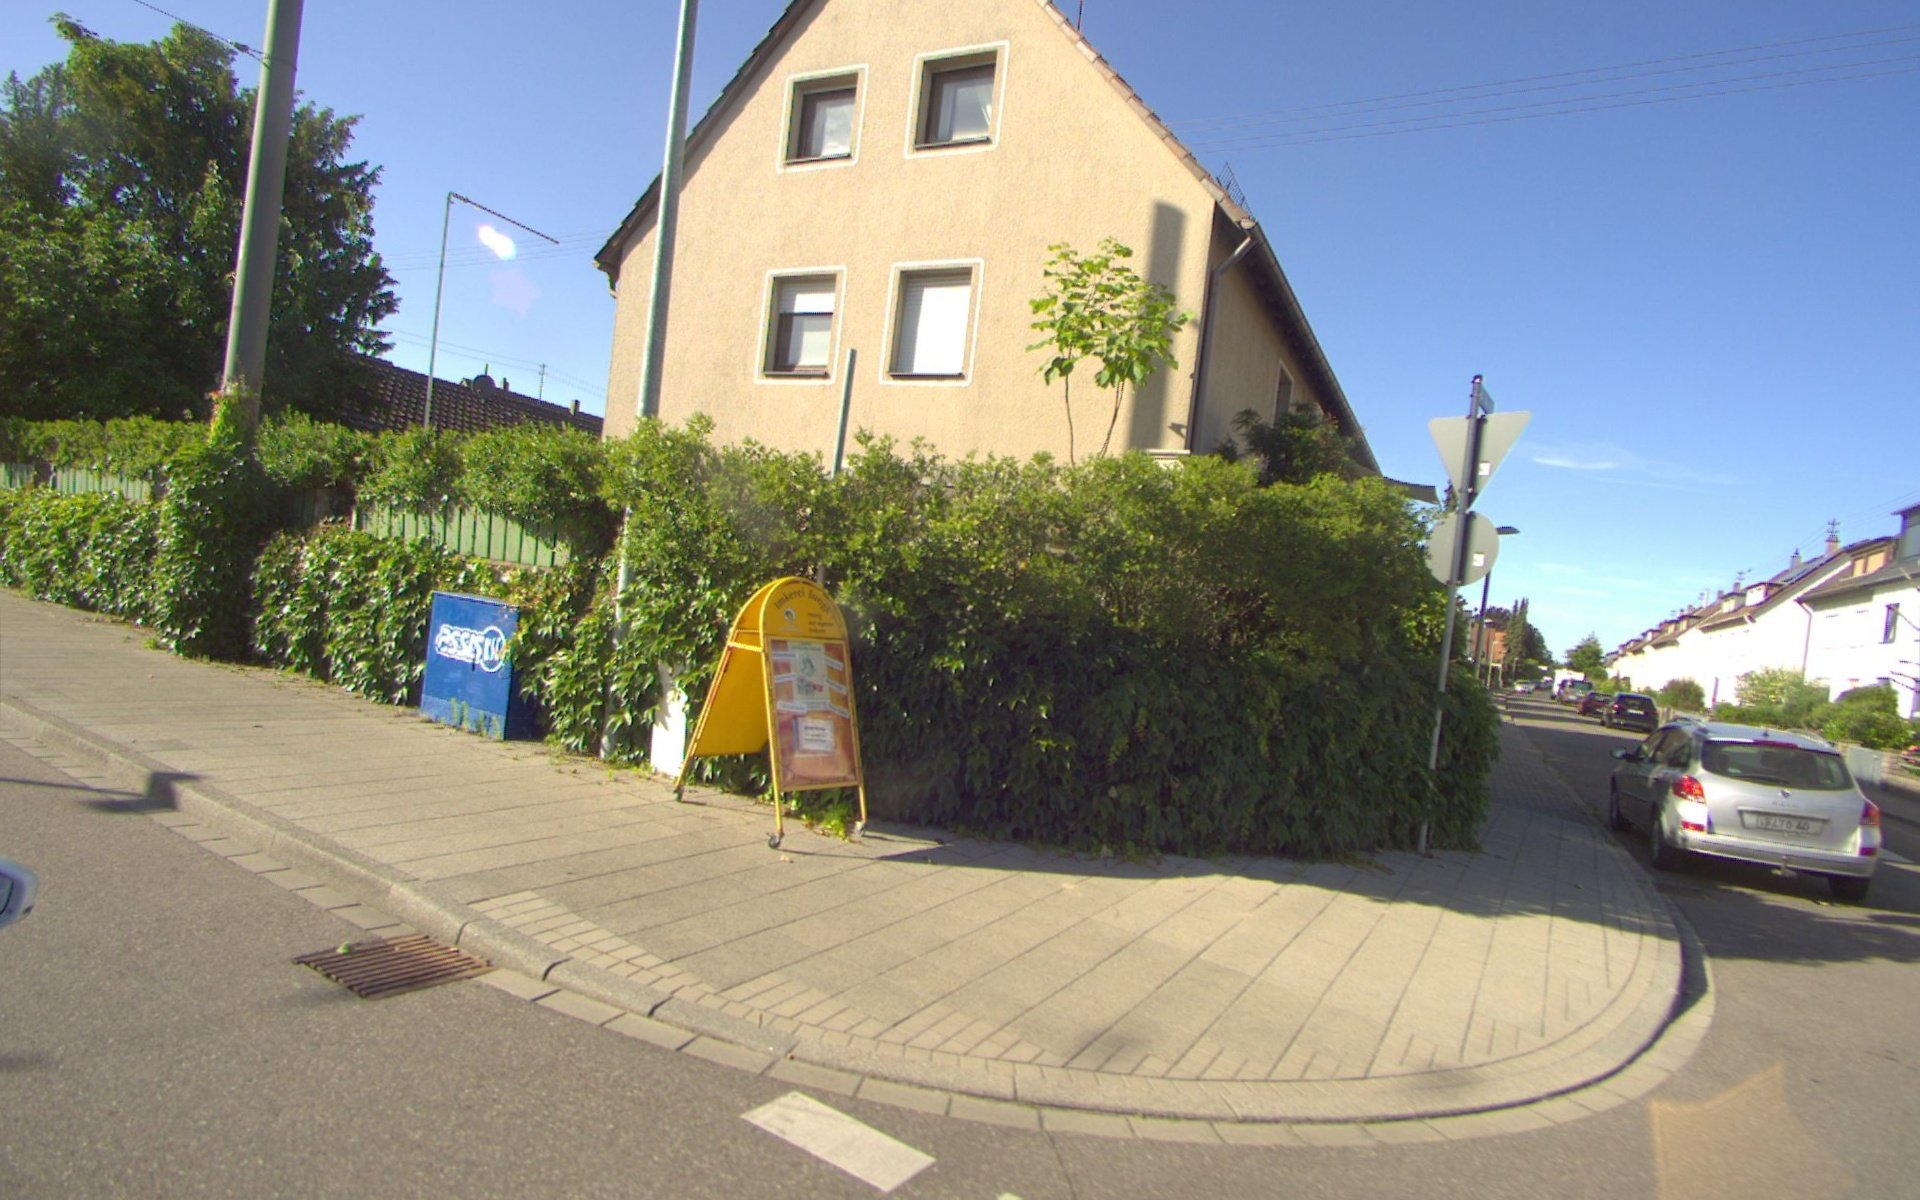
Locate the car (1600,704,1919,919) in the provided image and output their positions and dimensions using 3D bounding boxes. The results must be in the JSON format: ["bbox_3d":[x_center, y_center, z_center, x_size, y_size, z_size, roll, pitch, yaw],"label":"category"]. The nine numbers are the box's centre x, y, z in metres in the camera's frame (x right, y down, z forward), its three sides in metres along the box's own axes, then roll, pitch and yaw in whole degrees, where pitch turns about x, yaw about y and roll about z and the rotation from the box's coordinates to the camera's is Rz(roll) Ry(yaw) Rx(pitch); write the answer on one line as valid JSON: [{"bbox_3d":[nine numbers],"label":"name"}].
[{"bbox_3d":[8.383,2.069,10.994,1.770,1.529,4.149,5,-1,26],"label":"car"}]

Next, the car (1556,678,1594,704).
[{"bbox_3d":[44.537,6.552,72.928,1.844,1.641,4.149,5,-1,26],"label":"car"}]

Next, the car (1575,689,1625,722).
[{"bbox_3d":[35.632,5.840,56.101,1.831,1.486,4.111,5,-1,26],"label":"car"}]

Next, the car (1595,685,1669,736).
[{"bbox_3d":[27.773,4.519,41.693,1.882,1.705,4.225,5,-1,26],"label":"car"}]

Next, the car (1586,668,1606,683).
[{"bbox_3d":[105.830,12.579,167.418,1.963,2.037,4.002,6,-2,22],"label":"car"}]

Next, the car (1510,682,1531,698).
[{"bbox_3d":[63.816,10.198,114.578,1.770,1.529,4.149,5,-1,26],"label":"car"}]
